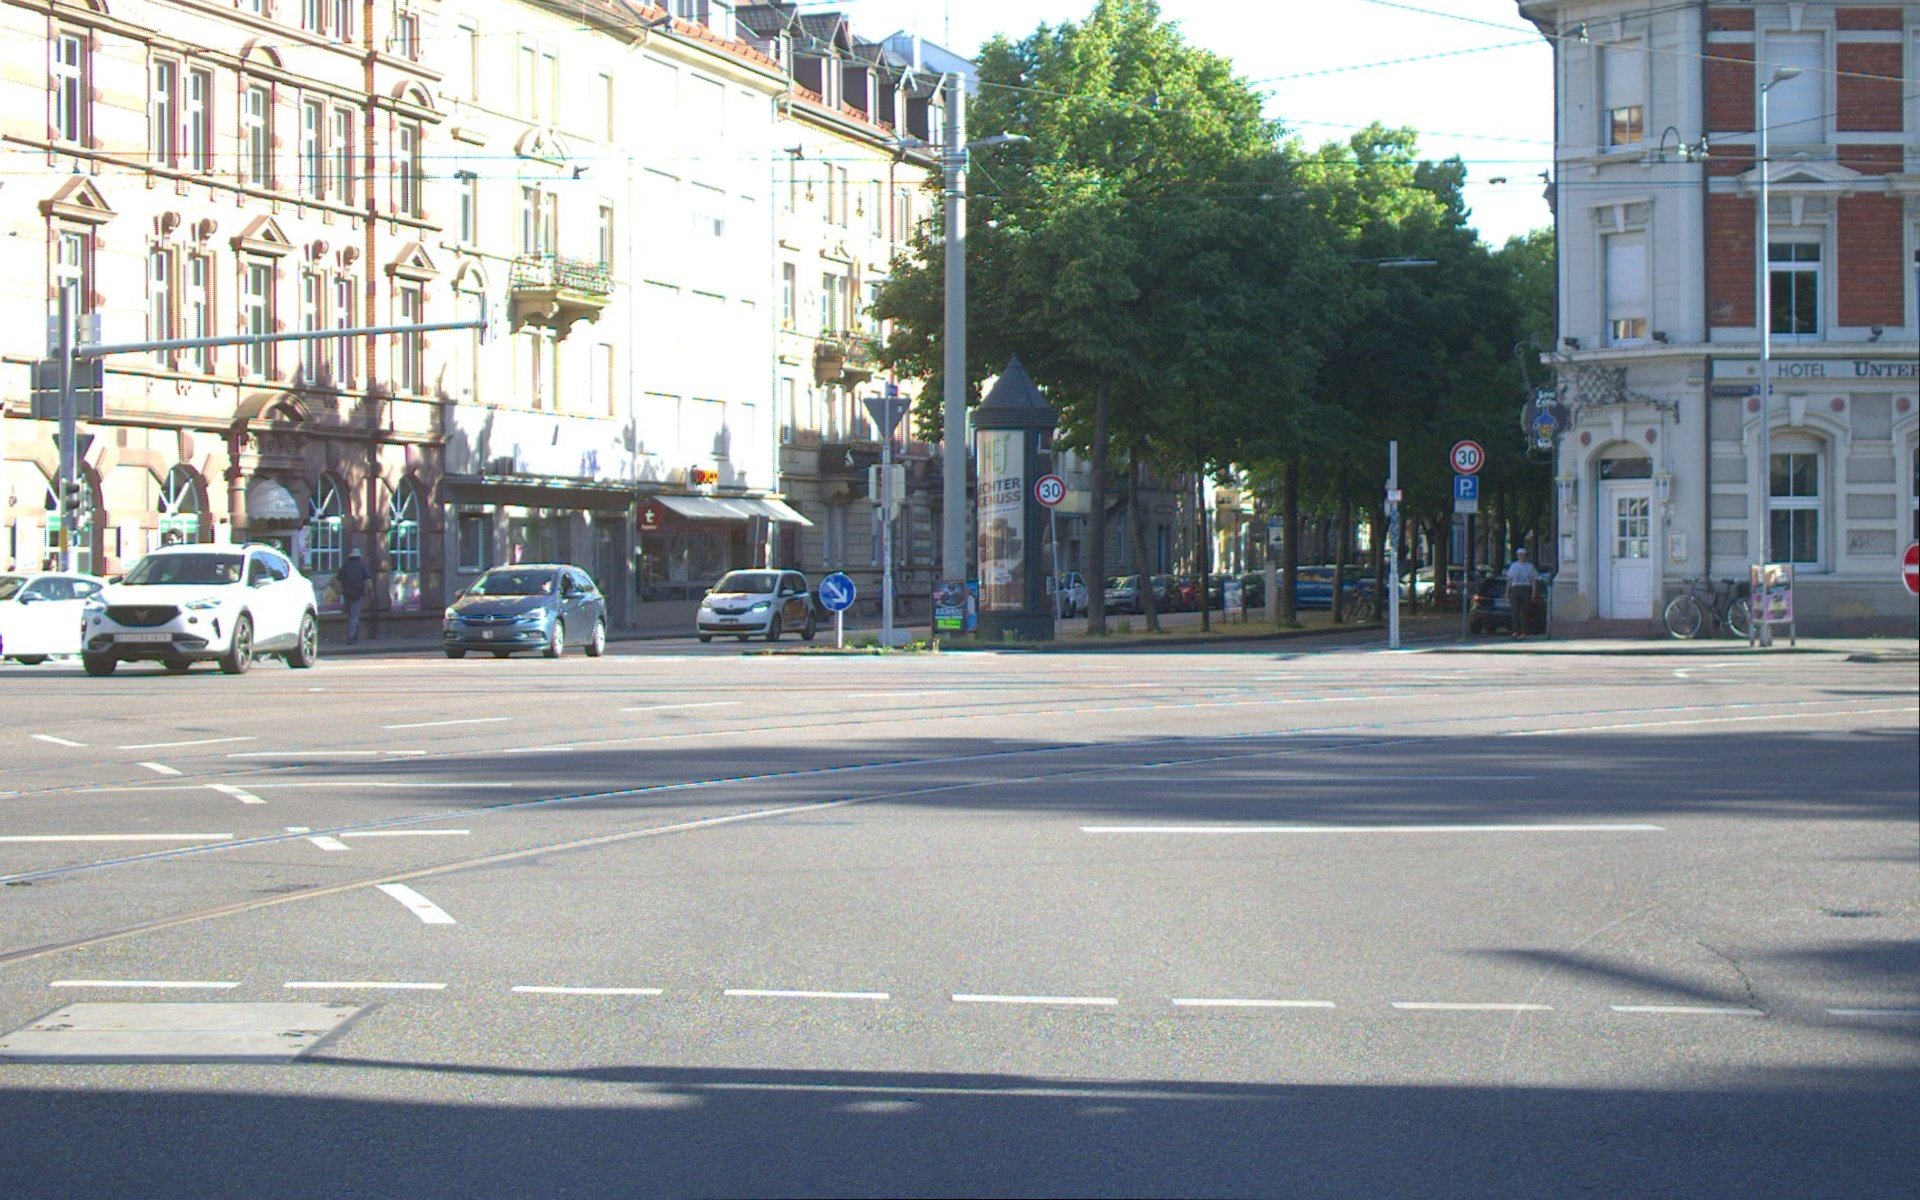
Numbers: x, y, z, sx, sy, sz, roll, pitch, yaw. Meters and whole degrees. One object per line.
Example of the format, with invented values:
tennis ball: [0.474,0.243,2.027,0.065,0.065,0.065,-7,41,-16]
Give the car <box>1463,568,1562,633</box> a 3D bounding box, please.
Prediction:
car: [13.271,-0.007,82.421,1.995,1.492,4.031,0,1,14]

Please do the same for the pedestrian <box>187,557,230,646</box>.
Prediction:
pedestrian: [-13.777,0.024,63.026,0.551,1.636,0.537,0,1,21]

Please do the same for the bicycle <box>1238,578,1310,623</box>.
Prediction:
bicycle: [7.549,0.001,82.763,0.582,1.063,1.949,-1,1,-37]

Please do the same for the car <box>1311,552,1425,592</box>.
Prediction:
car: [15.952,-1.089,134.406,3.993,1.540,1.997,0,1,28]

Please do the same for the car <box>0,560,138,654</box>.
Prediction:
car: [-14.467,0.090,51.582,1.996,1.350,4.217,0,1,24]

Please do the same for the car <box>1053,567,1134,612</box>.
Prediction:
car: [4.588,-0.377,117.366,1.995,1.492,4.031,0,1,14]

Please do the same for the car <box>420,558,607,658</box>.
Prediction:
car: [-6.976,0.093,54.164,1.774,1.492,4.572,0,1,8]

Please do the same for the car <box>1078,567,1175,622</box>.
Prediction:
car: [4.740,-0.174,97.351,1.995,1.492,4.031,0,1,14]

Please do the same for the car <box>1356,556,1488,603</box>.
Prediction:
car: [15.653,-0.701,116.474,3.994,1.540,1.997,0,1,31]

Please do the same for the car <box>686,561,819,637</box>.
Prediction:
car: [-4.221,-0.035,70.403,1.719,1.492,3.581,0,1,14]

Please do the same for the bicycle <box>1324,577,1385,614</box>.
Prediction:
bicycle: [11.380,-0.137,99.256,0.582,1.063,1.949,-1,1,-37]

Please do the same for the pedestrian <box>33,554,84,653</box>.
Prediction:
pedestrian: [-15.003,0.061,57.209,0.631,1.636,0.552,0,1,13]

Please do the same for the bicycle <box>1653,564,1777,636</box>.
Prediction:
bicycle: [12.556,-0.005,57.182,1.961,1.186,0.546,0,1,5]

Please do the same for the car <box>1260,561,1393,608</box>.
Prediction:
car: [12.323,-0.510,115.669,3.993,1.540,1.997,0,1,28]

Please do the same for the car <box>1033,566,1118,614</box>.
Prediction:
car: [3.811,-0.343,112.879,1.995,1.492,4.031,0,1,14]

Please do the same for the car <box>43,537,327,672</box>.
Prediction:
car: [-8.973,0.015,40.191,1.994,1.492,4.347,0,1,5]

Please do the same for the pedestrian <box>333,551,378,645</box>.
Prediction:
pedestrian: [-12.292,-0.042,69.918,0.682,1.902,0.632,0,1,16]

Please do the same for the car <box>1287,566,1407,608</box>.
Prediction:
car: [14.447,-0.501,128.310,3.993,1.540,1.997,0,1,28]

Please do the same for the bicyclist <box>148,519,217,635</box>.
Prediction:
bicyclist: [-10.547,-0.321,46.635,0.714,1.554,0.987,-1,1,-24]

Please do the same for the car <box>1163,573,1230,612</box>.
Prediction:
car: [9.416,-0.319,136.538,1.995,1.492,4.031,0,1,14]

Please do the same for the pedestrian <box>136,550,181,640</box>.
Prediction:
pedestrian: [-14.620,-0.100,62.707,0.551,1.636,0.632,0,1,17]

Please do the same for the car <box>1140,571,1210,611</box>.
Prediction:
car: [8.256,-0.361,131.811,1.995,1.492,4.031,0,1,14]

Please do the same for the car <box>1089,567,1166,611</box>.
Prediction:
car: [5.980,-0.407,122.602,1.995,1.492,4.031,0,1,14]

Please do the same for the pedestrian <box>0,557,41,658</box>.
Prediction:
pedestrian: [-15.409,0.123,55.946,0.675,1.636,0.578,0,1,13]

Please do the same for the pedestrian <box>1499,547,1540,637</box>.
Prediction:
pedestrian: [10.415,-0.152,63.997,0.716,1.664,0.939,0,1,12]
